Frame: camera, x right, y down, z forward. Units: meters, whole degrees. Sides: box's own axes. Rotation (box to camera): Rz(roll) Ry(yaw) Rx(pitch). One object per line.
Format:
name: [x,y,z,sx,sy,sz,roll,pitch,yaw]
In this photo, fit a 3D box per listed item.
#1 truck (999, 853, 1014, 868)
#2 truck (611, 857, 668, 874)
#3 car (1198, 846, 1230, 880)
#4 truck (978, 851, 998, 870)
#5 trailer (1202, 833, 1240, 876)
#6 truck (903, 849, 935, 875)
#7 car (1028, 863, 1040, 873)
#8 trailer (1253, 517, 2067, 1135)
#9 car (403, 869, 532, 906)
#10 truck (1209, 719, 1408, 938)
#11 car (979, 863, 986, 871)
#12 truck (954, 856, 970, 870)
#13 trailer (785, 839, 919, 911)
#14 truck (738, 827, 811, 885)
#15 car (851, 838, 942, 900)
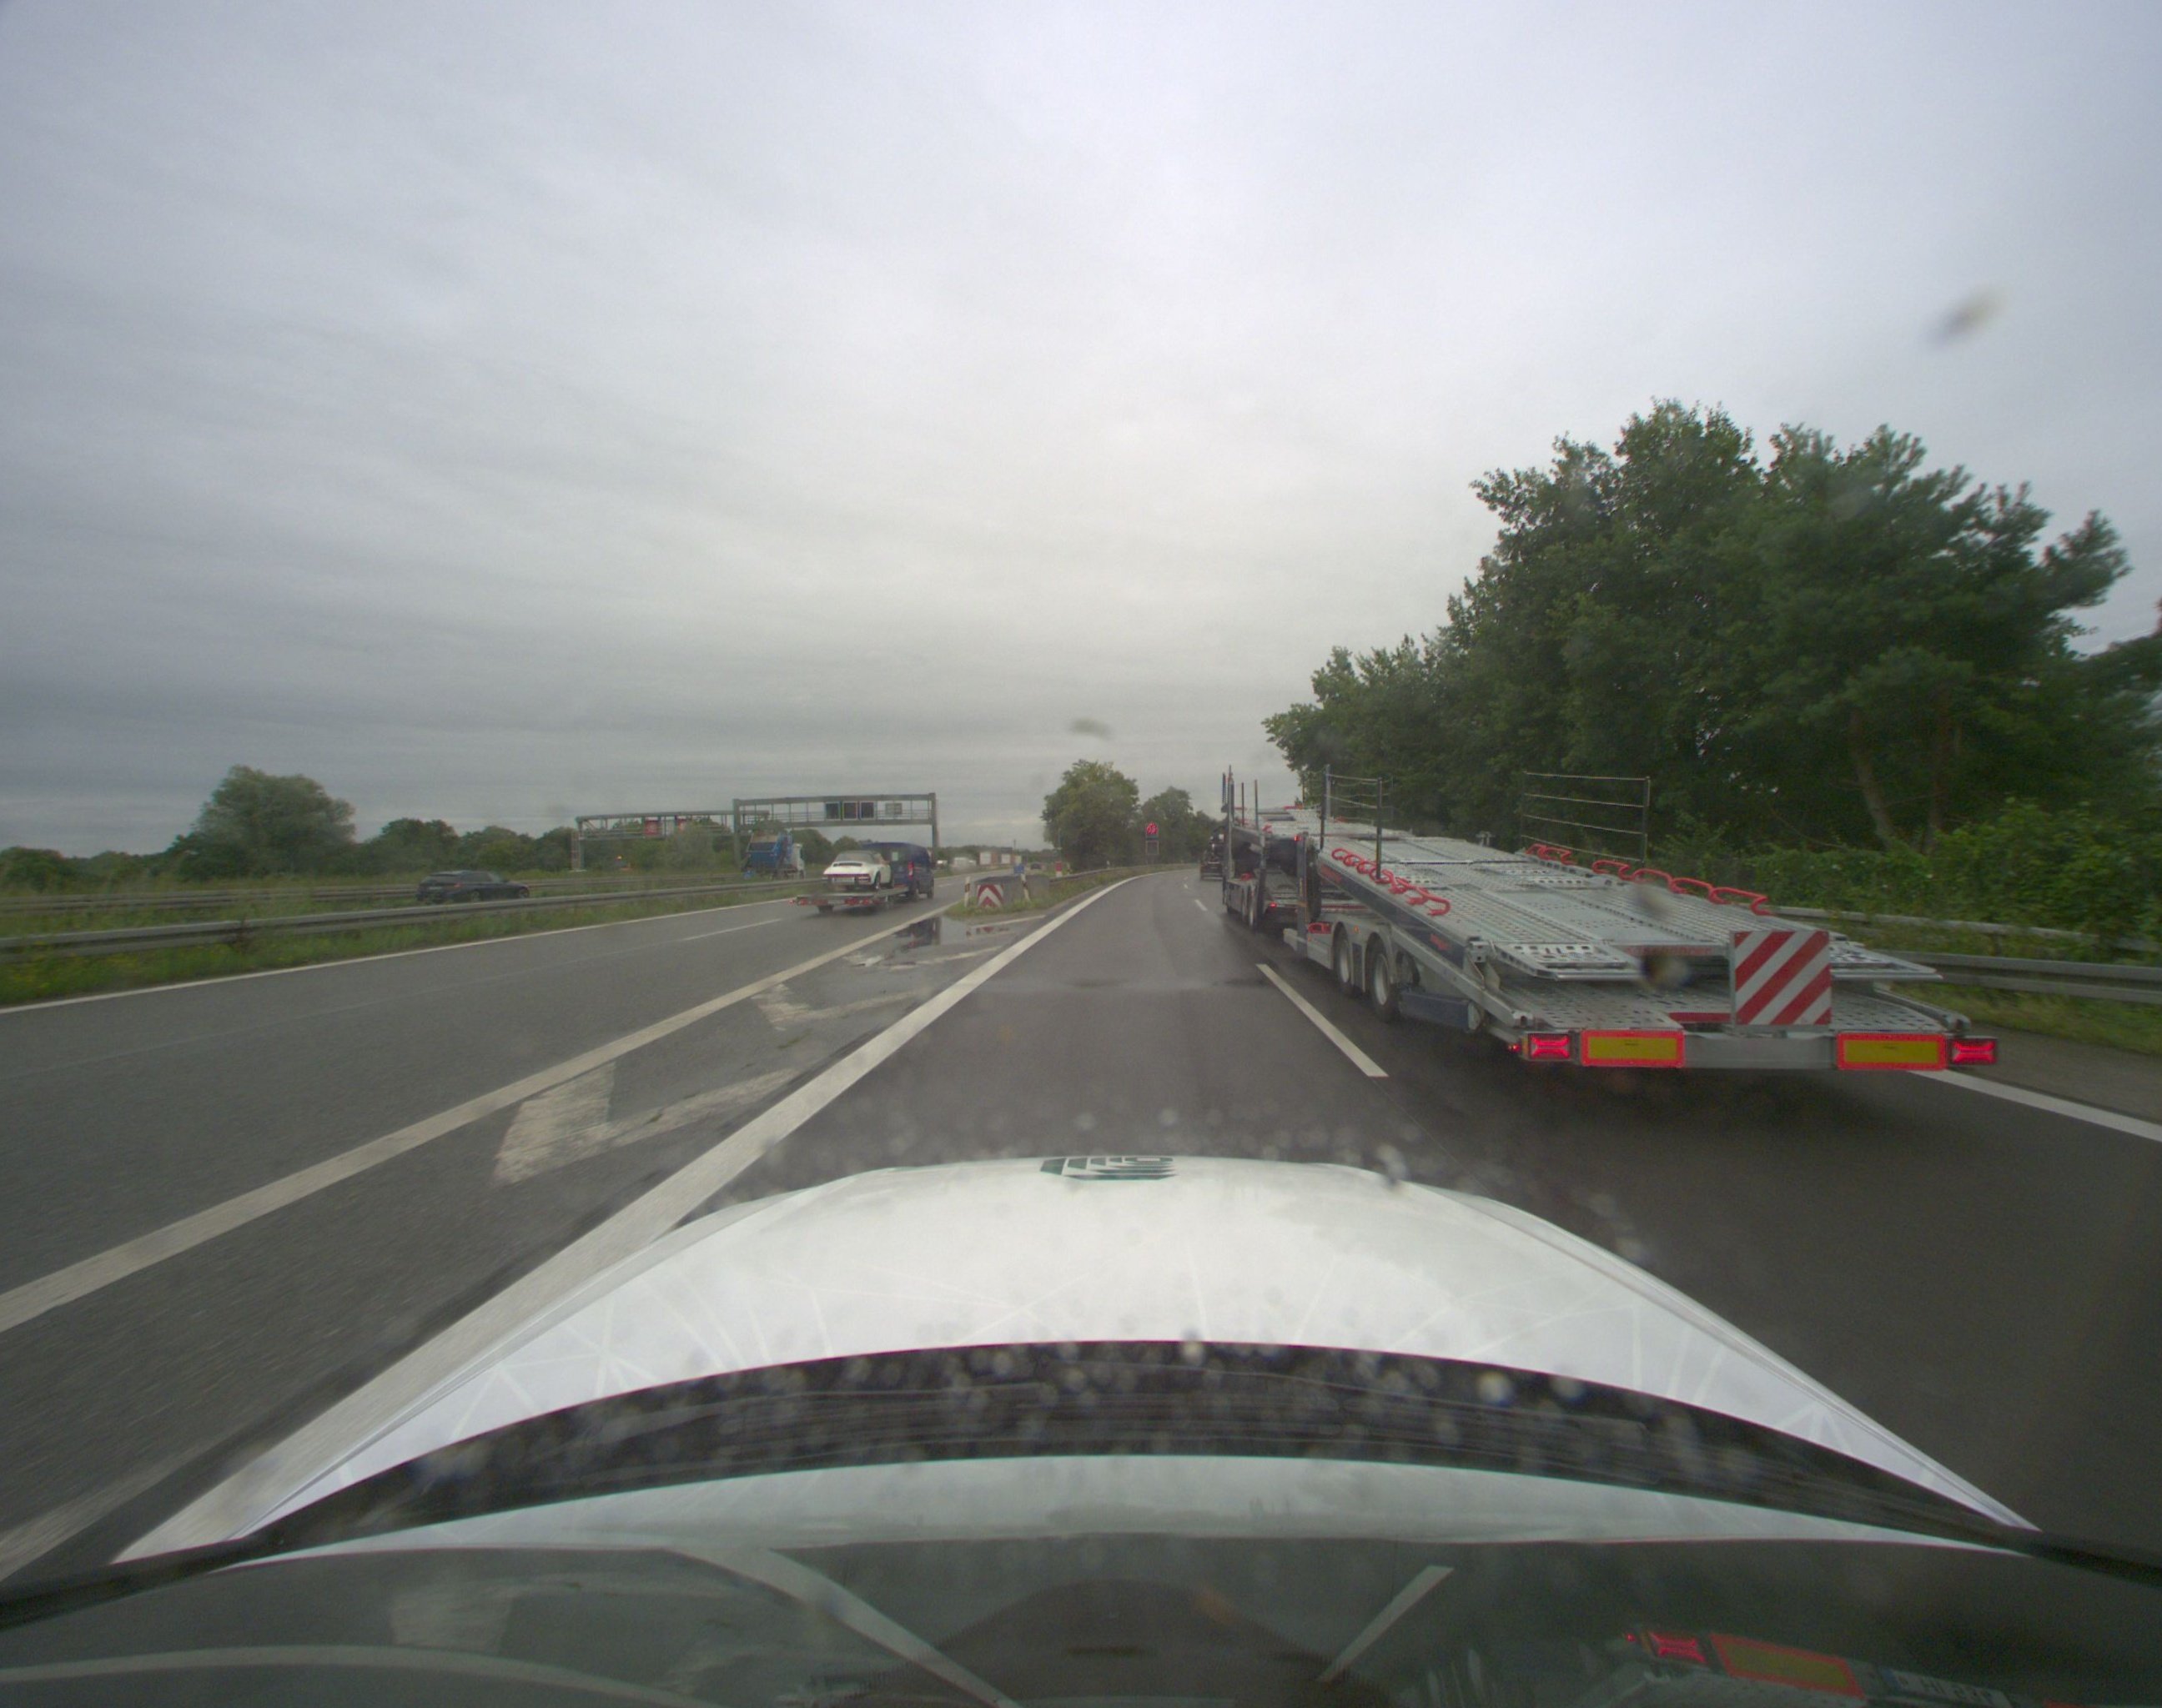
truck: [-22.245,1.965,244.210,3.722,4.417,11.890,0,0,-1]
truck: [-53.120,1.410,98.248,1.986,2.014,8.814,0,-1,1]
car: [9.610,0.656,58.586,2.097,2.264,5.913,-1,-1,10]
truck: [-22.308,1.582,195.501,3.722,4.417,10.189,0,-1,-1]
trailer: [14.275,0.060,83.087,3.428,3.999,12.059,2,0,10]
truck: [-22.087,1.089,111.384,2.849,3.365,8.626,0,-1,-1]
car: [-8.409,2.530,145.344,1.956,1.637,5.621,0,-1,-1]
trailer: [4.177,-0.122,9.591,2.765,3.285,10.417,0,0,4]
car: [-25.118,1.325,33.597,1.799,1.391,4.770,0,-1,-2]
truck: [4.851,-0.436,19.389,2.726,3.968,9.138,-1,0,4]
car: [-26.922,3.612,222.725,1.725,2.014,3.997,0,-1,-1]
truck: [-22.185,1.669,151.984,2.236,2.704,5.276,0,-1,-1]
trailer: [-7.103,0.623,26.282,2.478,1.994,7.058,0,-1,-1]
truck: [-21.309,0.197,57.085,2.632,3.812,7.335,0,-1,-3]
car: [-7.274,0.565,32.909,2.366,2.266,6.252,0,-1,-1]
